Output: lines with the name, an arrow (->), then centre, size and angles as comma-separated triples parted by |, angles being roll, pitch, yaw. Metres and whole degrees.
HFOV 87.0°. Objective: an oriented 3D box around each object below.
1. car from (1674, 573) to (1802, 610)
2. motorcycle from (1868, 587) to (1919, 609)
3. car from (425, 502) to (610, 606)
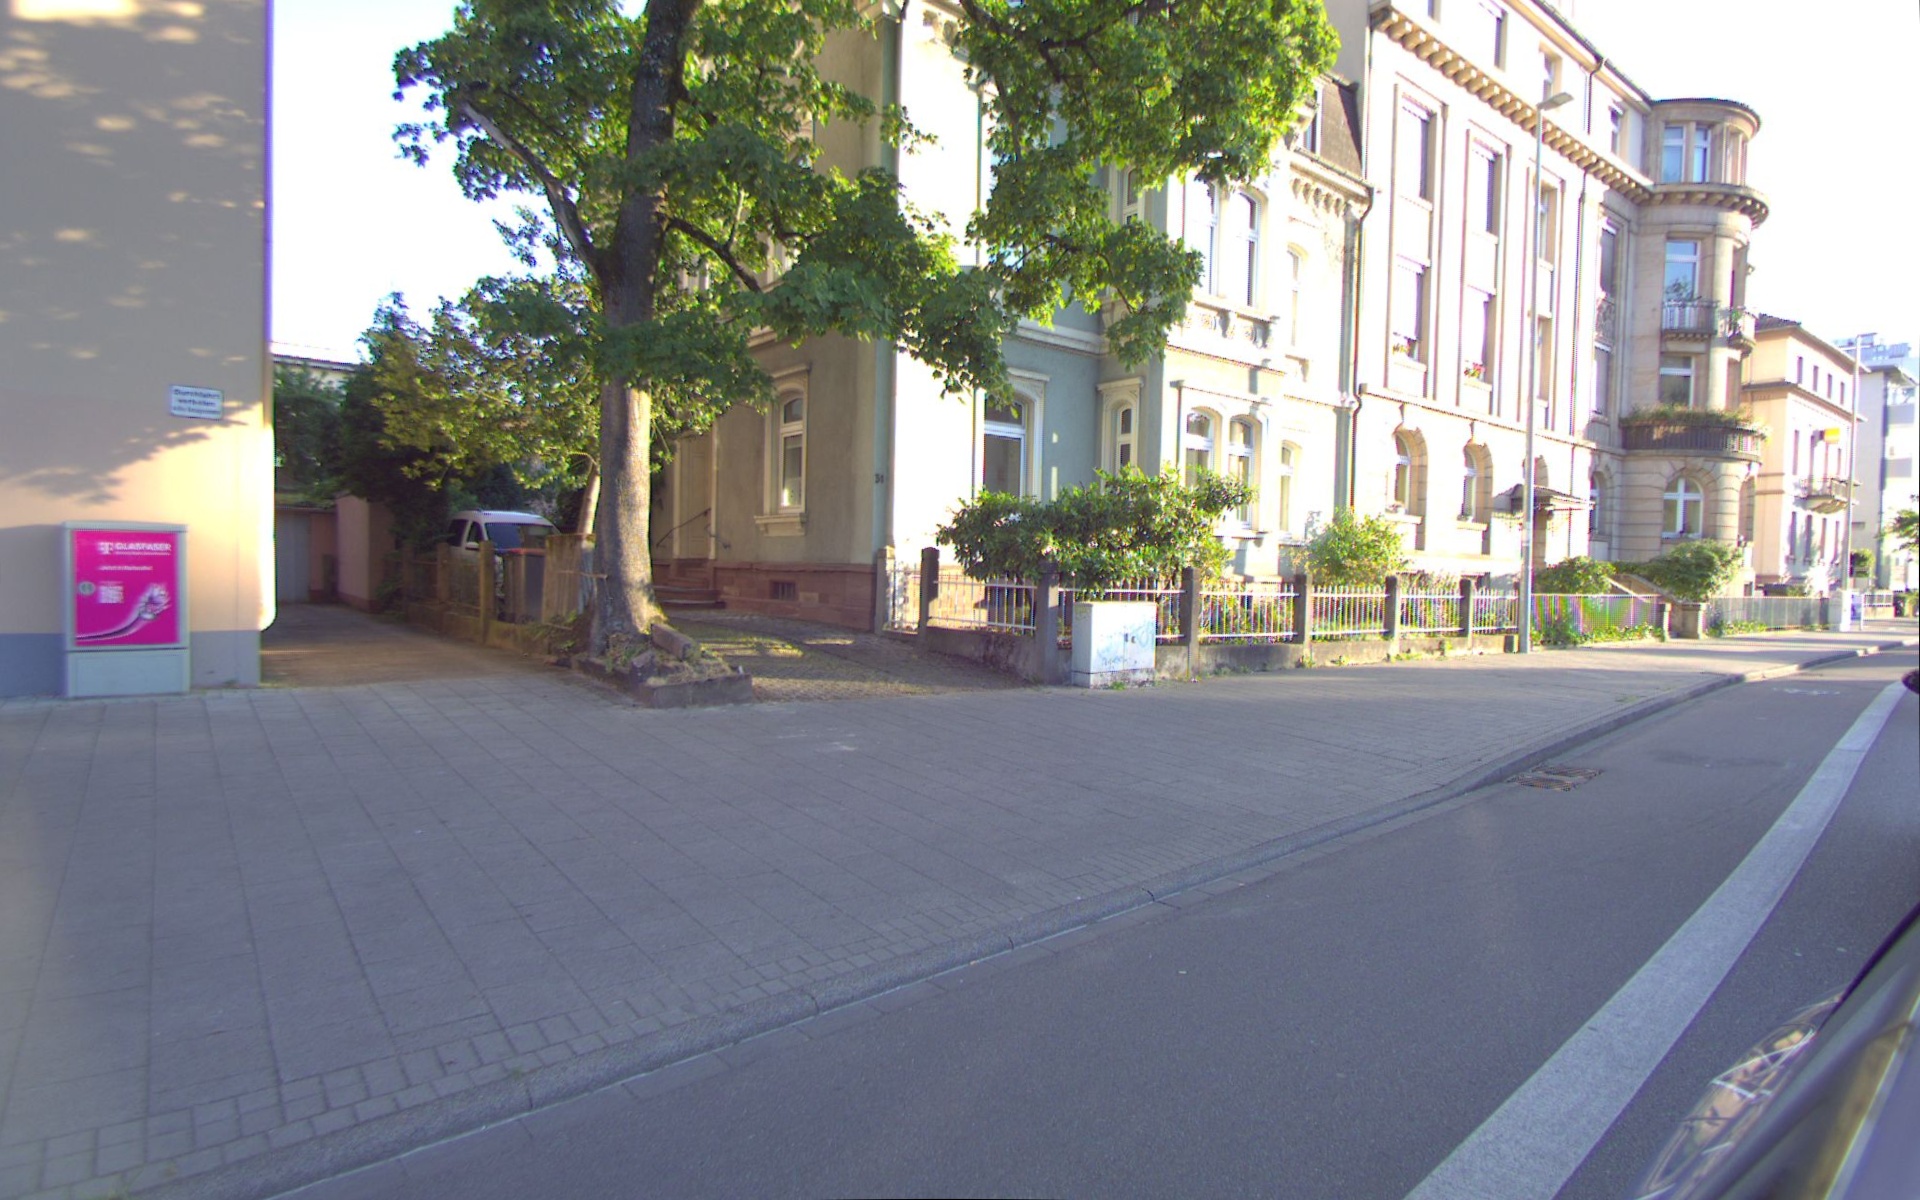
car -> 34.042, -0.409, 44.340 | 1.903, 1.499, 4.098 | 0, 2, -38
motorcycle -> 48.299, -0.112, 52.347 | 0.564, 1.110, 1.851 | 0, 1, -33
car -> -8.654, -0.928, 19.582 | 1.795, 1.778, 4.513 | 1, 3, -44
